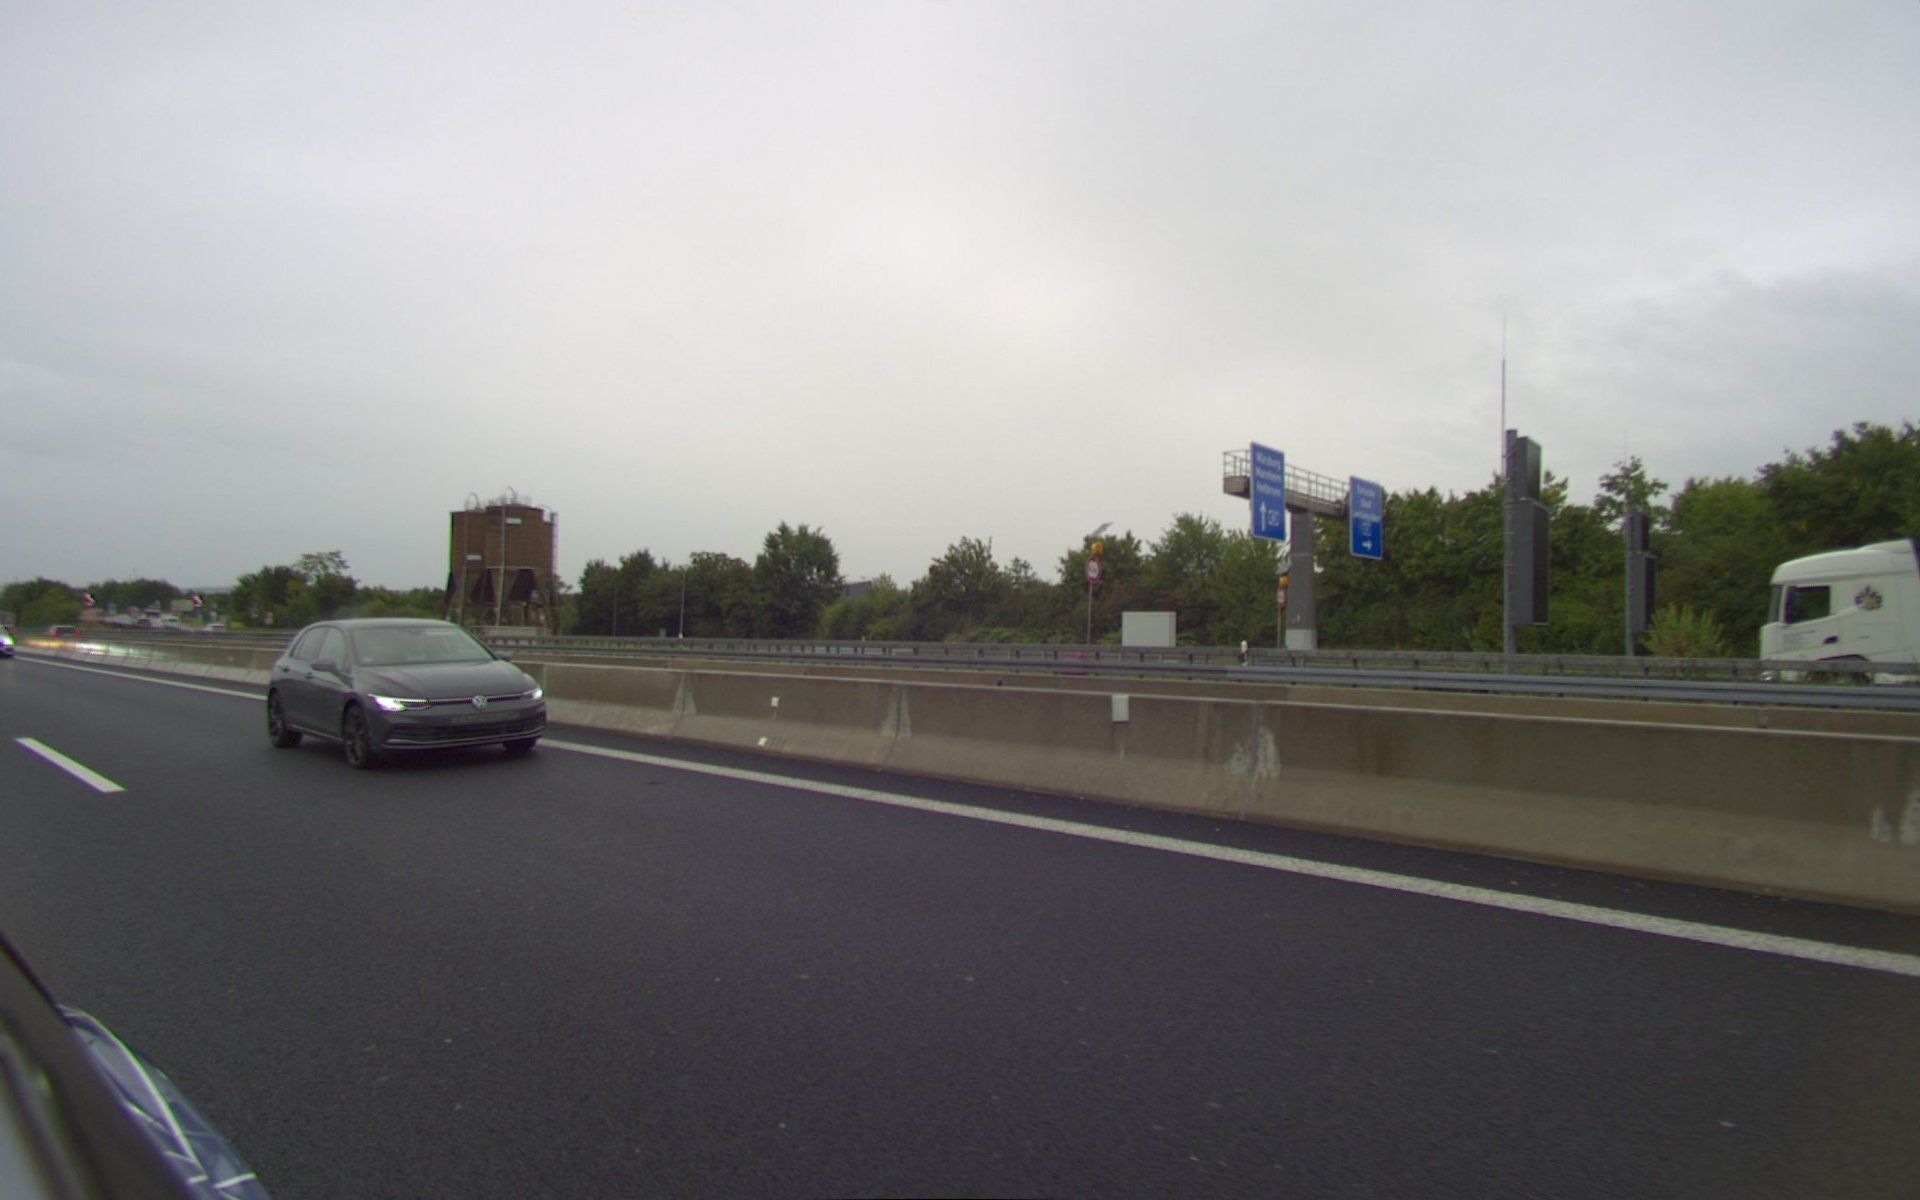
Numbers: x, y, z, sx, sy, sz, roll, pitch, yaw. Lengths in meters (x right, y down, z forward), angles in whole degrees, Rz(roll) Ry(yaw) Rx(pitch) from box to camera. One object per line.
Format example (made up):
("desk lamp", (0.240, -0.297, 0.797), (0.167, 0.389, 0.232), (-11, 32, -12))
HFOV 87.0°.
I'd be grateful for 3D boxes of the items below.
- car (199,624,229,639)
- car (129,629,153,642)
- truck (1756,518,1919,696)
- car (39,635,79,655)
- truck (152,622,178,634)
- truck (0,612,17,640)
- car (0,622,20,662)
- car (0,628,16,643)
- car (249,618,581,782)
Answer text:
("car", (-90.798, 3.845, 123.124), (4.503, 1.775, 1.973), (-2, -2, 41))
("car", (-114.763, 4.999, 141.834), (4.459, 1.822, 1.883), (-1, -1, 41))
("truck", (26.090, 0.076, 19.172), (17.126, 3.838, 3.144), (-1, -2, 41))
("car", (-67.717, 3.354, 76.045), (4.445, 1.402, 1.835), (-2, -2, 44))
("truck", (-119.322, 4.199, 151.798), (5.400, 1.657, 1.974), (-1, 0, 40))
("truck", (-132.626, 3.606, 139.214), (11.902, 3.738, 2.938), (-1, 0, 41))
("car", (-40.952, 1.762, 42.362), (4.816, 1.603, 1.972), (-2, -1, 42))
("car", (-95.251, 3.508, 100.507), (3.998, 1.519, 1.779), (-1, -2, 41))
("car", (-6.139, 0.945, 11.167), (4.365, 1.436, 1.811), (-1, -1, 41))
